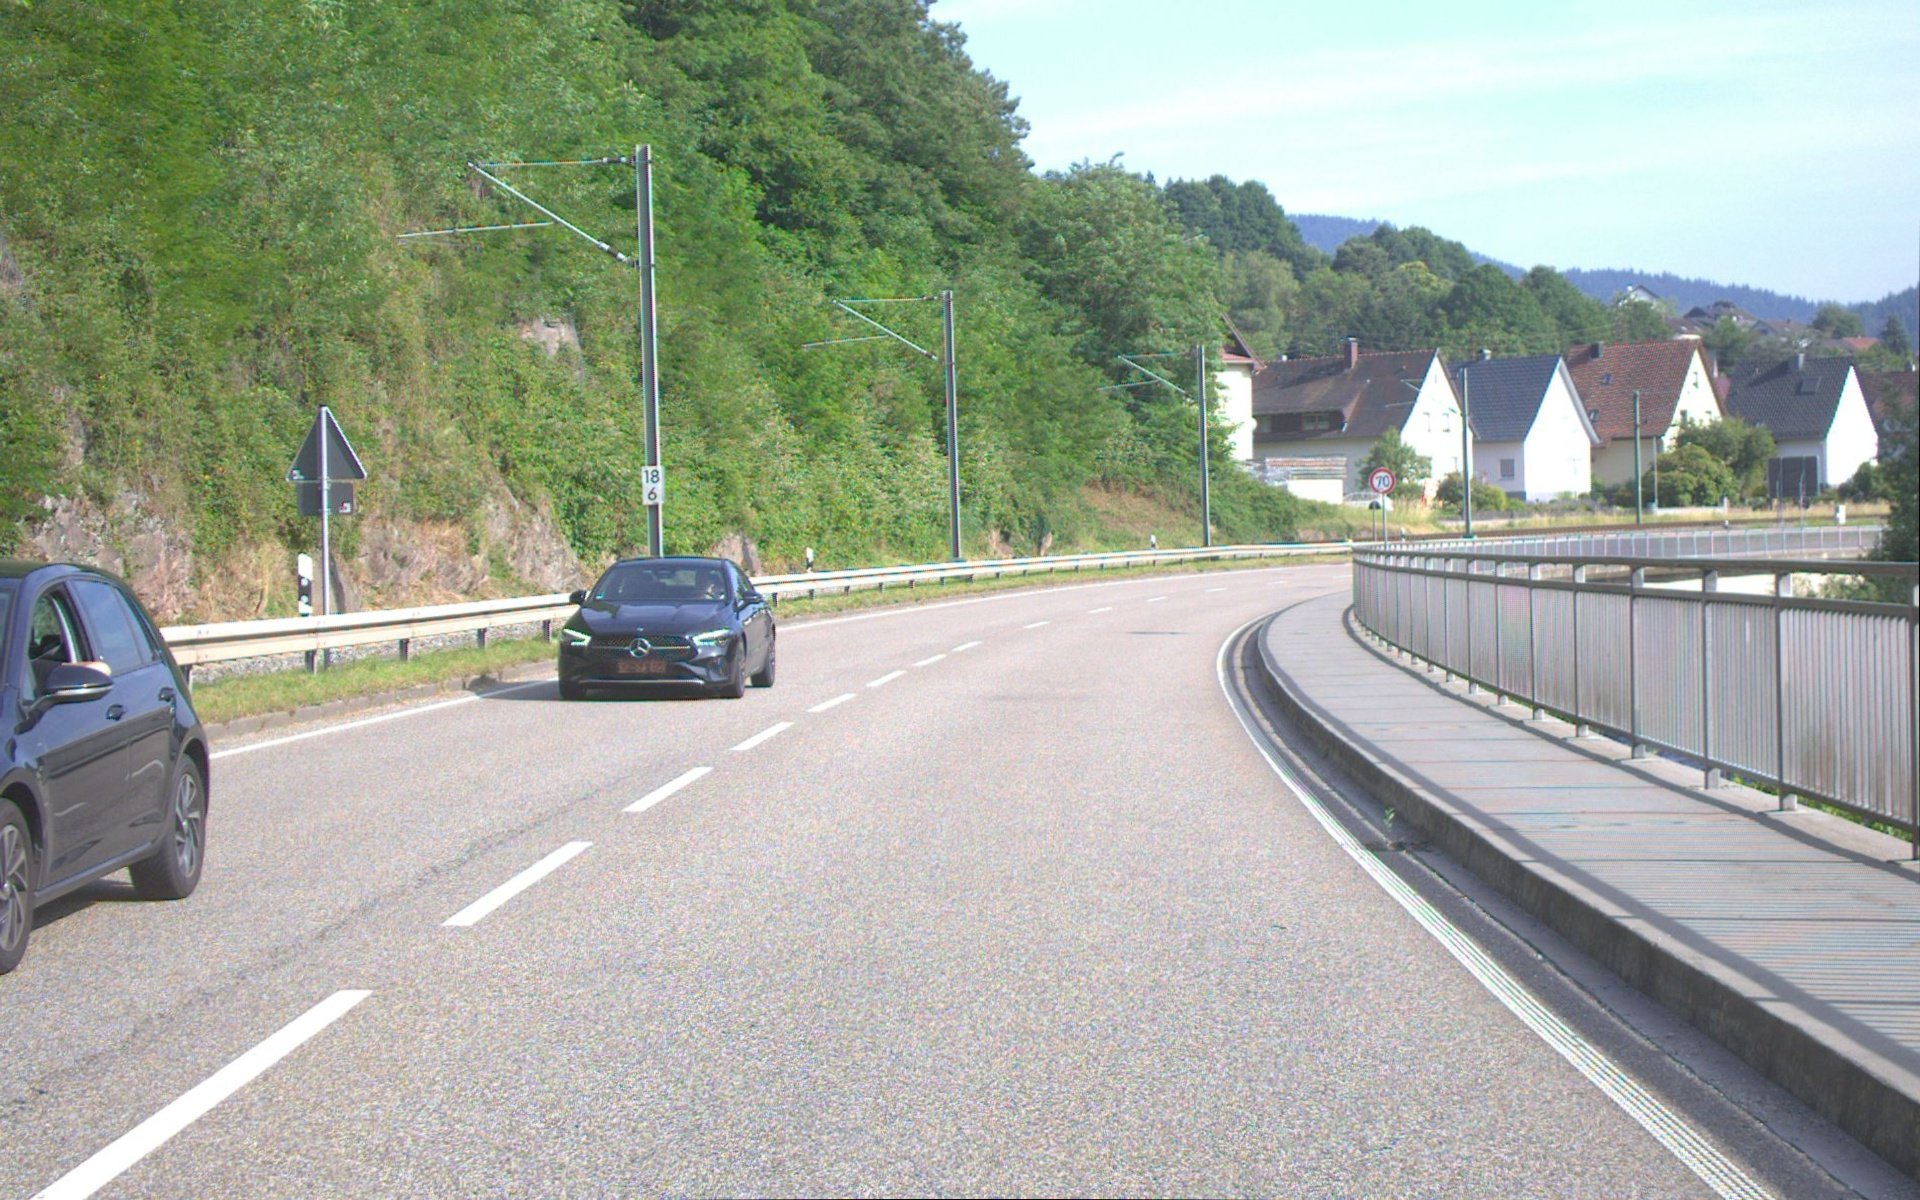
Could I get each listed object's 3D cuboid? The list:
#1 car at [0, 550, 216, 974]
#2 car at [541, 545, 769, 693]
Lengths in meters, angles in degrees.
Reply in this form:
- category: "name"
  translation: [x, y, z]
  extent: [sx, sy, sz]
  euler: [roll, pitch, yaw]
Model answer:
- category: "car"
  translation: [-4.187, 0.532, 13.097]
  extent: [1.847, 1.435, 3.897]
  euler: [0, 1, 0]
- category: "car"
  translation: [-3.082, 0.153, 35.583]
  extent: [1.847, 1.397, 4.476]
  euler: [-1, 1, 1]
